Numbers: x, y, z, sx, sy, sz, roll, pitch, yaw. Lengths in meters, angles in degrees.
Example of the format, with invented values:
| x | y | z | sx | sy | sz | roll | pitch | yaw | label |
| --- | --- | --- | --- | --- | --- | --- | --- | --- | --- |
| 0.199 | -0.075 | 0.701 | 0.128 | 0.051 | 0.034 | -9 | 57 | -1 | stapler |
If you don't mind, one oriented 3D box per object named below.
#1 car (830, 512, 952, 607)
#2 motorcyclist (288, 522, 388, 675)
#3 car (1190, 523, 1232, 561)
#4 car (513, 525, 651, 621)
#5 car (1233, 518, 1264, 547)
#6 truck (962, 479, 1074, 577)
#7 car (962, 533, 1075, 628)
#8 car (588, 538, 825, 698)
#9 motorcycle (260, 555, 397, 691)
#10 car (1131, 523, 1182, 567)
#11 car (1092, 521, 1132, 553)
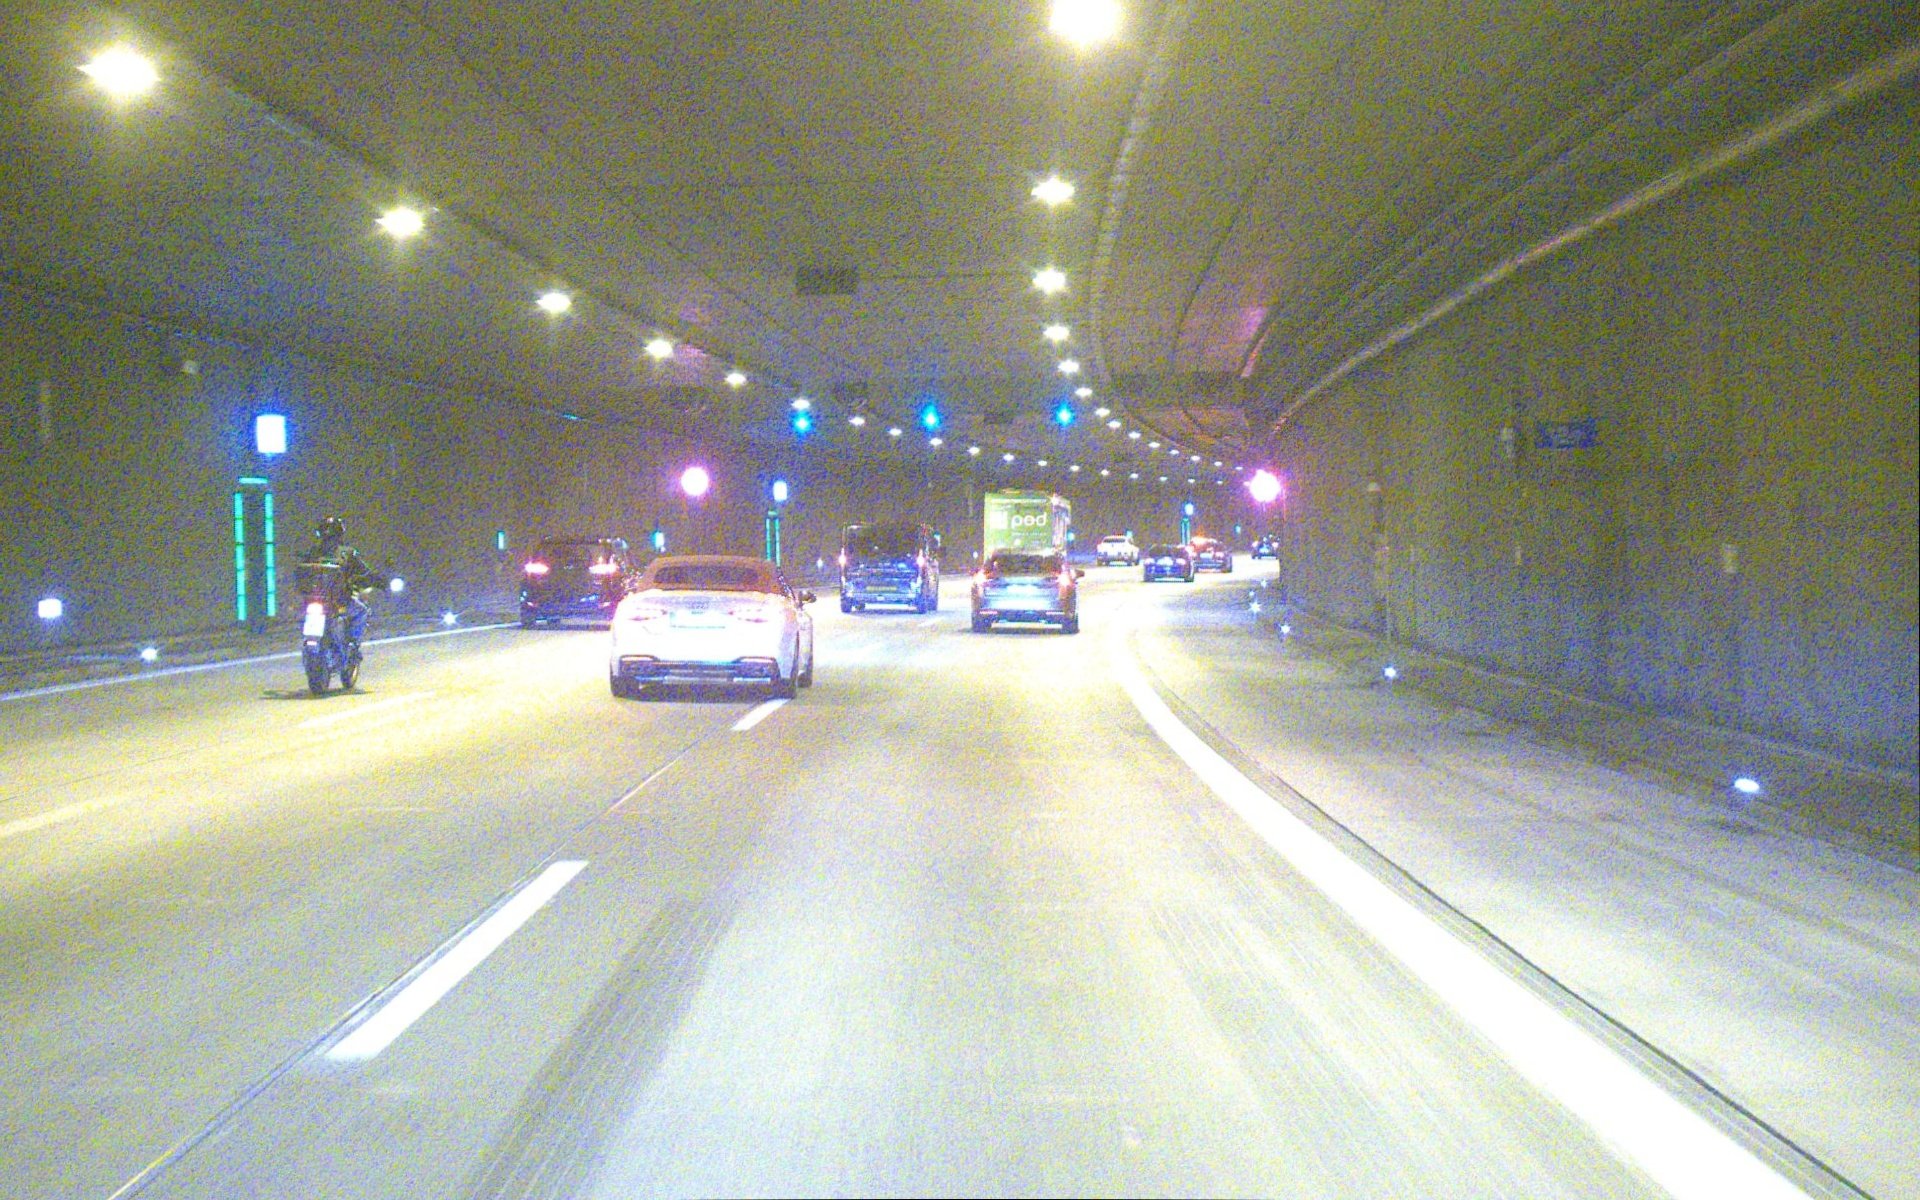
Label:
| x | y | z | sx | sy | sz | roll | pitch | yaw | label |
| --- | --- | --- | --- | --- | --- | --- | --- | --- | --- |
| -1.461 | -0.898 | 74.319 | 1.994 | 1.965 | 3.999 | 1 | 1 | 8 | car |
| -6.118 | -0.024 | 33.852 | 0.839 | 1.472 | 0.821 | 0 | 2 | 0 | motorcyclist |
| 11.560 | -2.676 | 158.527 | 1.859 | 1.660 | 4.000 | -2 | 1 | 4 | car |
| -6.449 | -0.487 | 58.981 | 1.785 | 1.593 | 3.801 | 0 | 1 | 2 | car |
| 17.856 | -4.195 | 212.757 | 1.834 | 1.685 | 3.999 | -2 | 1 | 6 | car |
| 2.098 | -2.579 | 120.168 | 3.083 | 3.102 | 10.028 | -3 | 2 | 5 | truck |
| 1.055 | -0.369 | 60.230 | 1.840 | 1.596 | 4.000 | 0 | 1 | 3 | car |
| -2.476 | 0.136 | 34.462 | 1.993 | 1.478 | 4.000 | -1 | 1 | 1 | car |
| -6.128 | 0.197 | 33.506 | 0.845 | 1.241 | 2.604 | 0 | 1 | 0 | motorcycle |
| 7.469 | -2.096 | 130.686 | 1.844 | 1.562 | 4.000 | -2 | 1 | 3 | car |
| 7.993 | -3.322 | 180.717 | 1.831 | 1.612 | 3.999 | -2 | 1 | 6 | car |
